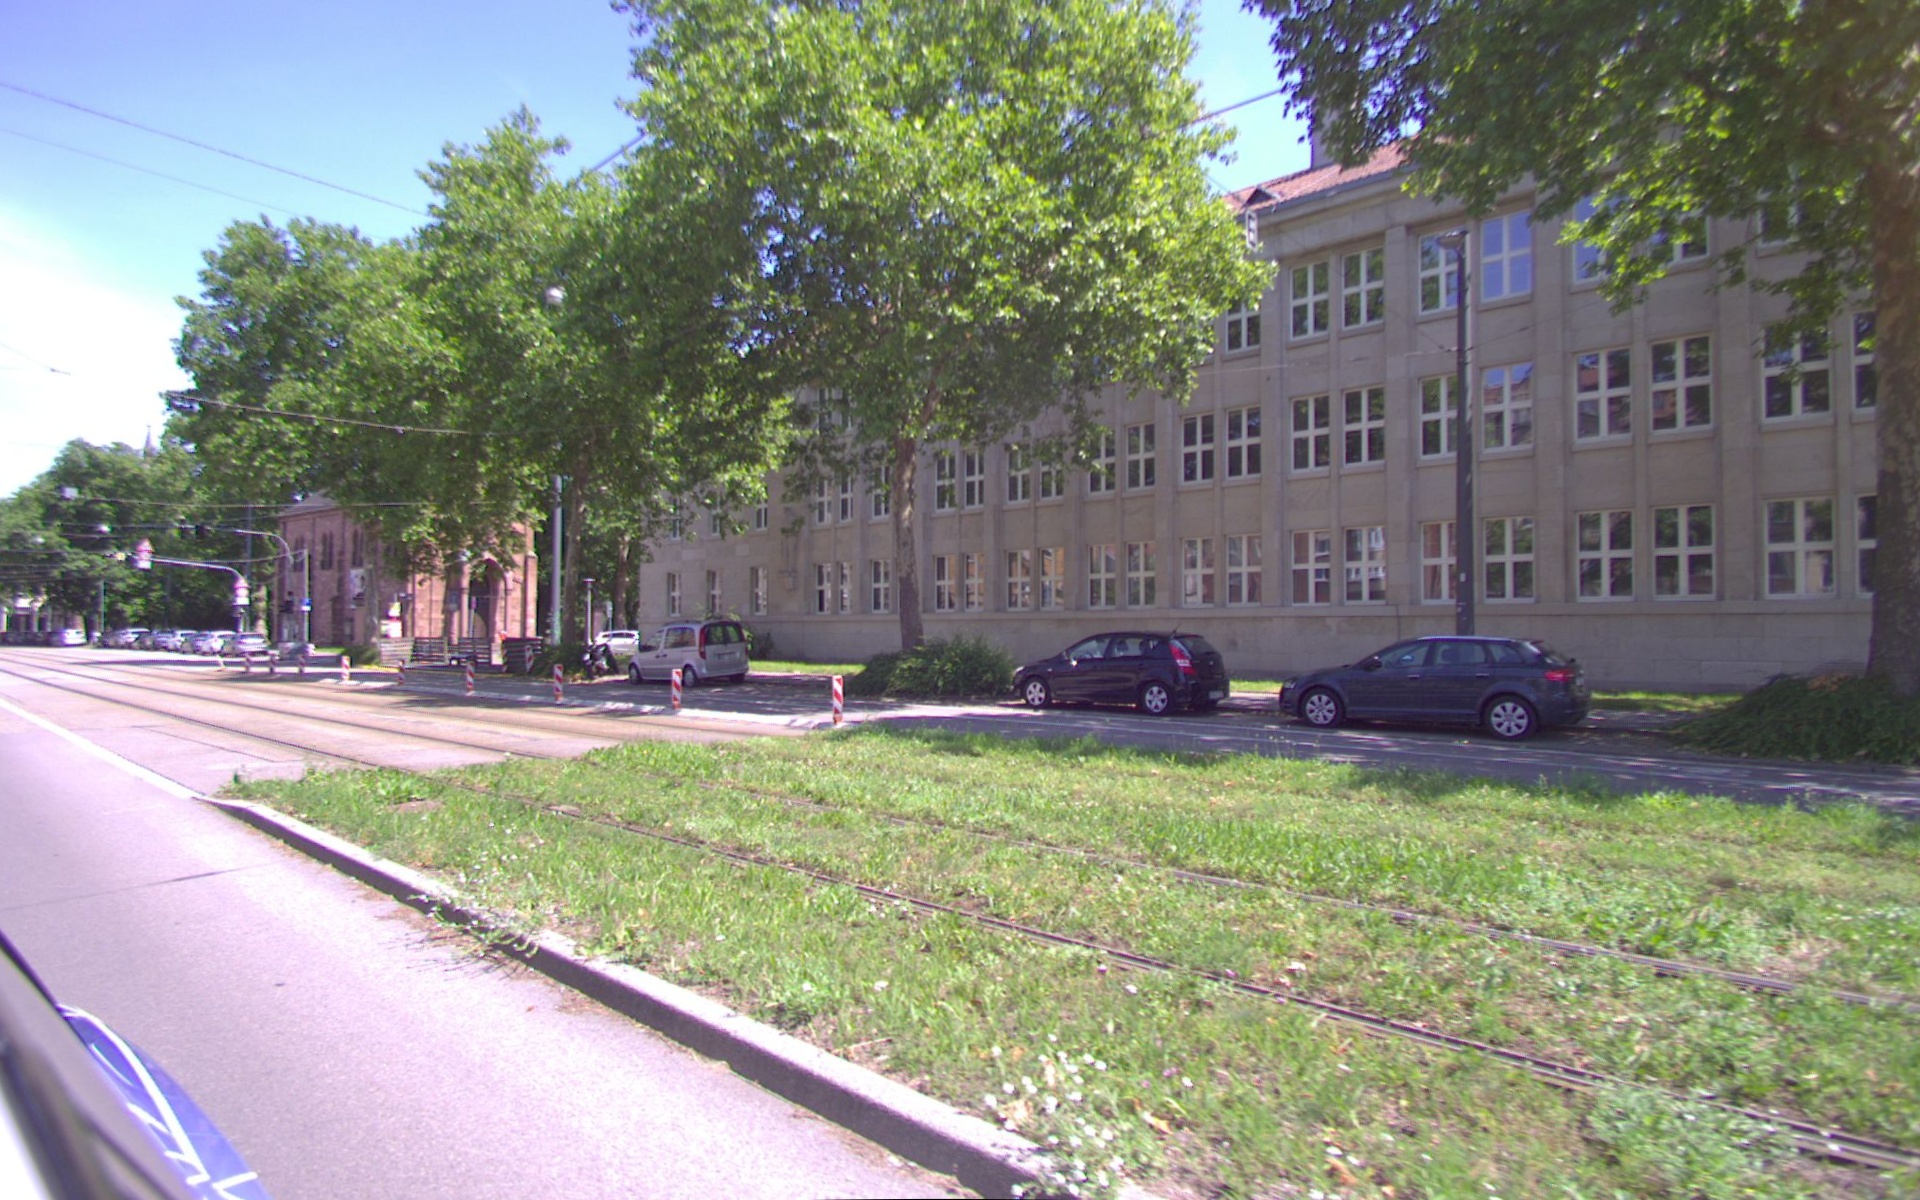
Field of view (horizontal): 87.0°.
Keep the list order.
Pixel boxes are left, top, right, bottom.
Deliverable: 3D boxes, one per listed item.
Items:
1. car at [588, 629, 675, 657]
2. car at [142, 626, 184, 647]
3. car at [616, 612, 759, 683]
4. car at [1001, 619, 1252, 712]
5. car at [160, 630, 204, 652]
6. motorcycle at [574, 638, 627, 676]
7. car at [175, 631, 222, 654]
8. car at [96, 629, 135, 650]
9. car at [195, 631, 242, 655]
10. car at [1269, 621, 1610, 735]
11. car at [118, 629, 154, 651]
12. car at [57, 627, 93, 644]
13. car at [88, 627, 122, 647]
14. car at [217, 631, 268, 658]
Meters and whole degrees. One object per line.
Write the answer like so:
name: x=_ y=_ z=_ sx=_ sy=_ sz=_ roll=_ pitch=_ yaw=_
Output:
car: x=-19.294 y=2.534 z=59.571 sx=4.481 sy=1.520 sz=1.911 roll=-1 pitch=-1 yaw=7
car: x=-58.685 y=2.668 z=74.502 sx=3.751 sy=1.535 sz=1.725 roll=-1 pitch=-1 yaw=41
car: x=-7.774 y=1.298 z=28.675 sx=4.301 sy=1.824 sz=1.971 roll=-1 pitch=-1 yaw=44
car: x=2.980 y=1.131 z=18.696 sx=4.323 sy=1.494 sz=1.744 roll=-1 pitch=-1 yaw=43
car: x=-54.422 y=2.831 z=70.786 sx=3.751 sy=1.470 sz=1.725 roll=-1 pitch=-1 yaw=41
motorcycle: x=-11.269 y=1.777 z=31.810 sx=0.719 sy=1.076 sz=1.866 roll=-1 pitch=1 yaw=11
car: x=-50.756 y=2.809 z=67.431 sx=4.056 sy=1.470 sz=1.641 roll=-1 pitch=-1 yaw=41
car: x=-72.121 y=3.325 z=86.411 sx=3.999 sy=1.730 sz=1.972 roll=-1 pitch=-1 yaw=42
car: x=-46.990 y=2.698 z=64.099 sx=4.057 sy=1.470 sz=1.640 roll=-1 pitch=-1 yaw=42
car: x=6.972 y=1.057 z=14.982 sx=4.317 sy=1.434 sz=1.572 roll=-1 pitch=-1 yaw=38
car: x=-66.486 y=3.215 z=81.645 sx=3.905 sy=1.665 sz=1.724 roll=-1 pitch=-1 yaw=43
car: x=-84.036 y=3.384 z=96.089 sx=3.995 sy=1.575 sz=1.953 roll=-1 pitch=-1 yaw=39
car: x=-76.231 y=3.318 z=90.193 sx=3.731 sy=1.704 sz=1.802 roll=-1 pitch=-1 yaw=42
car: x=-43.078 y=2.649 z=60.737 sx=4.220 sy=1.470 sz=1.640 roll=-1 pitch=-1 yaw=42
